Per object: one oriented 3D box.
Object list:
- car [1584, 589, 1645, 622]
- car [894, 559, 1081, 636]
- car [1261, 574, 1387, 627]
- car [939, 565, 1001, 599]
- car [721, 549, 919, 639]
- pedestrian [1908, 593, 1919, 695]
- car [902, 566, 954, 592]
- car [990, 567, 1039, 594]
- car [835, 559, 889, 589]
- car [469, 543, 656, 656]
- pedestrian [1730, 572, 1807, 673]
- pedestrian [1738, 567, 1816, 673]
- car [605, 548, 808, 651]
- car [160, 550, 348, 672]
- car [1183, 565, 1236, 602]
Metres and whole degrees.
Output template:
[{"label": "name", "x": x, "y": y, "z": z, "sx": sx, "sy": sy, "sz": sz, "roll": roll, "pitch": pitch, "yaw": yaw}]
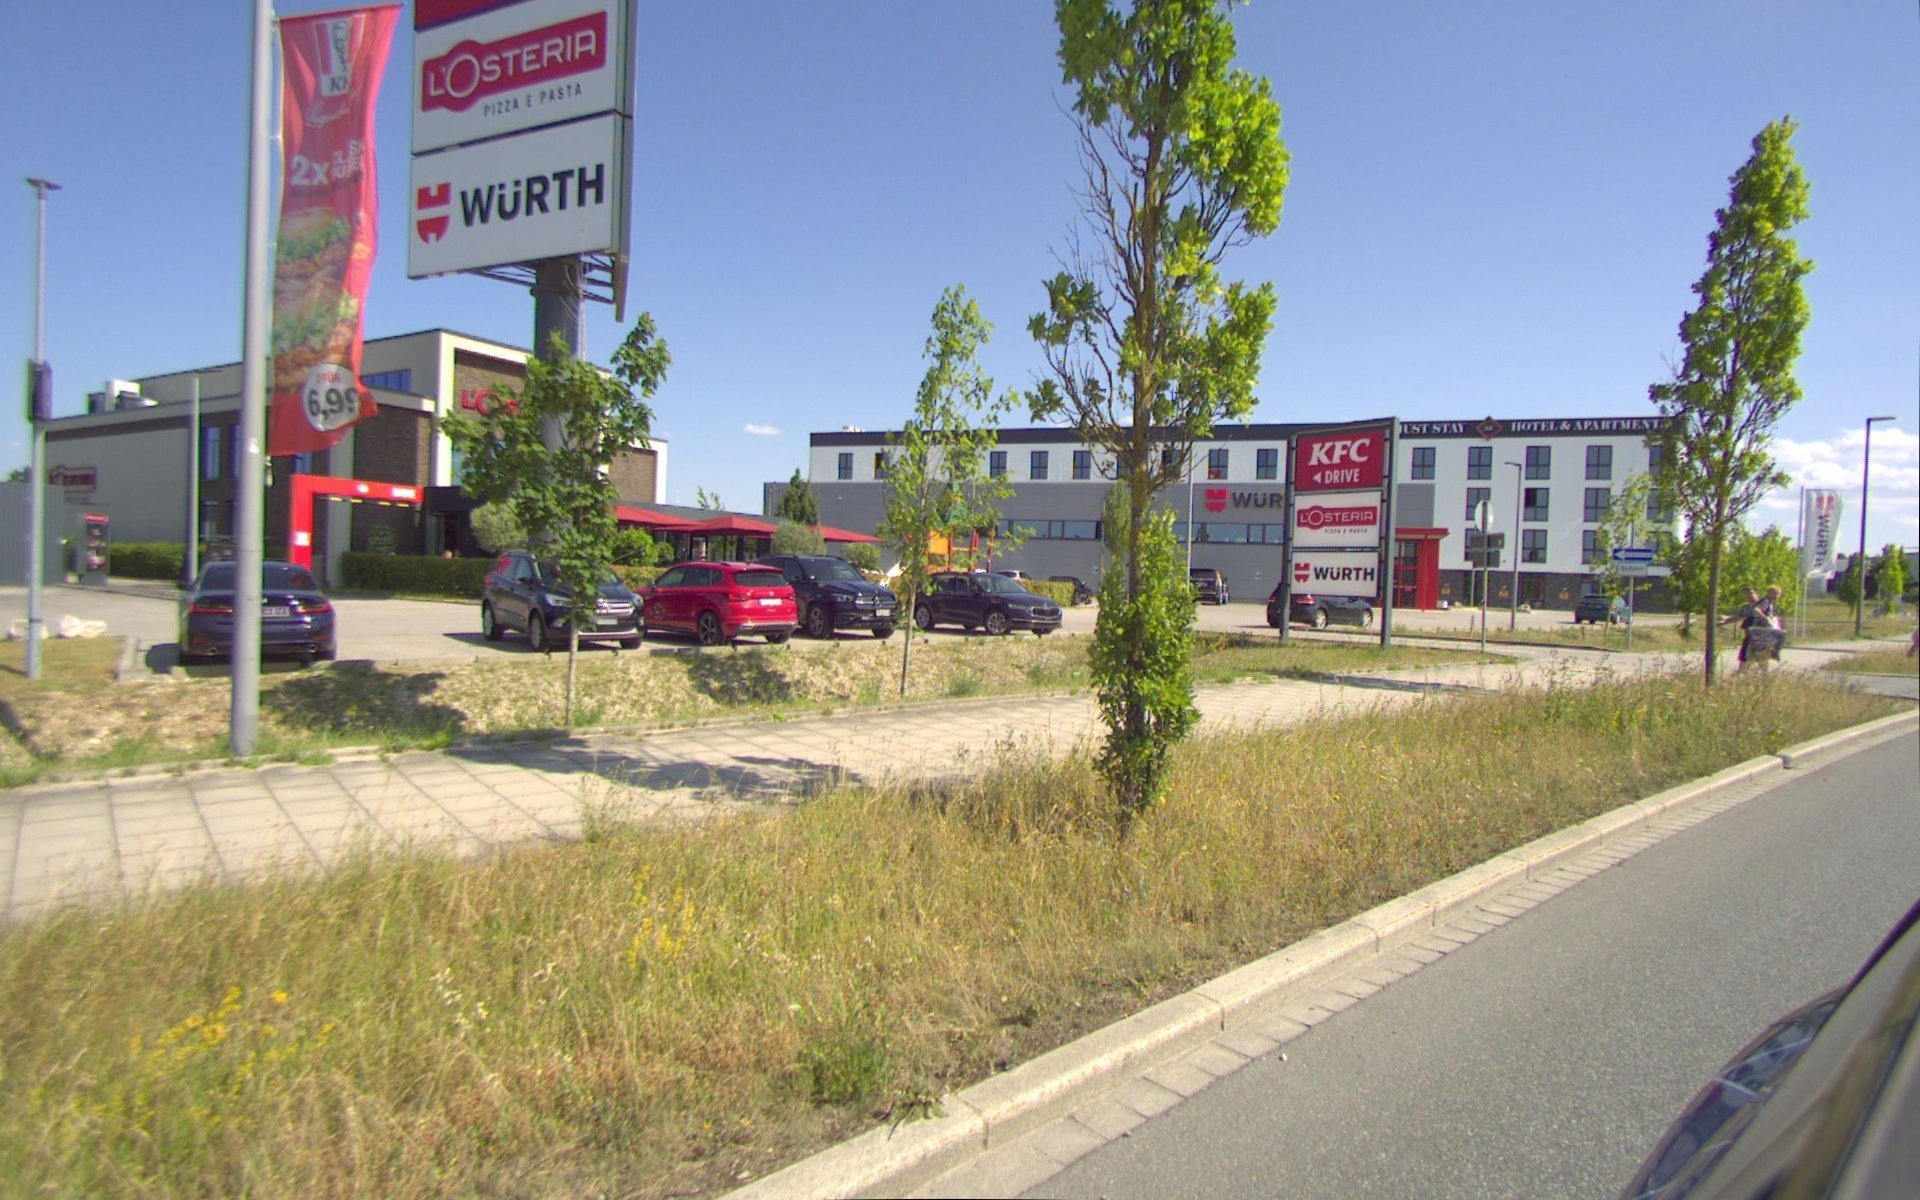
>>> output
[{"label": "car", "x": 30.378, "y": 0.233, "z": 46.928, "sx": 3.934, "sy": 1.425, "sz": 1.515, "roll": 1, "pitch": 2, "yaw": -44}, {"label": "car", "x": 0.580, "y": -0.118, "z": 24.439, "sx": 1.961, "sy": 1.586, "sz": 4.413, "roll": 1, "pitch": 2, "yaw": -43}, {"label": "car", "x": 11.545, "y": 0.001, "z": 31.970, "sx": 4.092, "sy": 1.559, "sz": 1.785, "roll": 0, "pitch": 2, "yaw": -37}, {"label": "car", "x": 0.526, "y": -0.874, "z": 48.324, "sx": 1.680, "sy": 1.490, "sz": 4.206, "roll": 2, "pitch": 2, "yaw": 19}, {"label": "car", "x": -3.295, "y": -0.200, "z": 22.944, "sx": 1.906, "sy": 1.756, "sz": 4.990, "roll": 1, "pitch": 2, "yaw": -43}, {"label": "pedestrian", "x": 14.517, "y": 0.647, "z": 14.798, "sx": 0.931, "sy": 1.488, "sz": 0.795, "roll": 1, "pitch": 1, "yaw": -38}, {"label": "car", "x": -1.900, "y": -1.268, "z": 61.095, "sx": 1.681, "sy": 1.480, "sz": 4.081, "roll": 2, "pitch": 2, "yaw": 21}, {"label": "car", "x": 3.230, "y": -1.163, "z": 59.491, "sx": 1.681, "sy": 1.480, "sz": 4.081, "roll": 2, "pitch": 2, "yaw": 21}, {"label": "car", "x": -6.072, "y": -1.614, "z": 63.127, "sx": 1.681, "sy": 1.779, "sz": 4.081, "roll": 2, "pitch": 1, "yaw": 21}, {"label": "car", "x": -7.288, "y": -0.087, "z": 18.294, "sx": 1.759, "sy": 1.756, "sz": 4.416, "roll": 1, "pitch": 2, "yaw": -40}, {"label": "pedestrian", "x": 13.622, "y": 0.359, "z": 17.058, "sx": 0.850, "sy": 1.649, "sz": 0.811, "roll": 1, "pitch": 1, "yaw": -38}, {"label": "pedestrian", "x": 13.197, "y": 0.306, "z": 16.350, "sx": 0.790, "sy": 1.650, "sz": 0.803, "roll": 1, "pitch": 1, "yaw": -38}, {"label": "car", "x": -5.136, "y": -0.084, "z": 20.153, "sx": 4.405, "sy": 1.756, "sz": 1.764, "roll": 4, "pitch": 2, "yaw": 42}, {"label": "car", "x": -10.523, "y": 0.063, "z": 14.945, "sx": 1.760, "sy": 1.467, "sz": 4.414, "roll": 1, "pitch": 2, "yaw": -42}, {"label": "car", "x": 13.363, "y": -0.885, "z": 53.985, "sx": 2.025, "sy": 1.838, "sz": 4.888, "roll": 2, "pitch": 1, "yaw": 22}]
